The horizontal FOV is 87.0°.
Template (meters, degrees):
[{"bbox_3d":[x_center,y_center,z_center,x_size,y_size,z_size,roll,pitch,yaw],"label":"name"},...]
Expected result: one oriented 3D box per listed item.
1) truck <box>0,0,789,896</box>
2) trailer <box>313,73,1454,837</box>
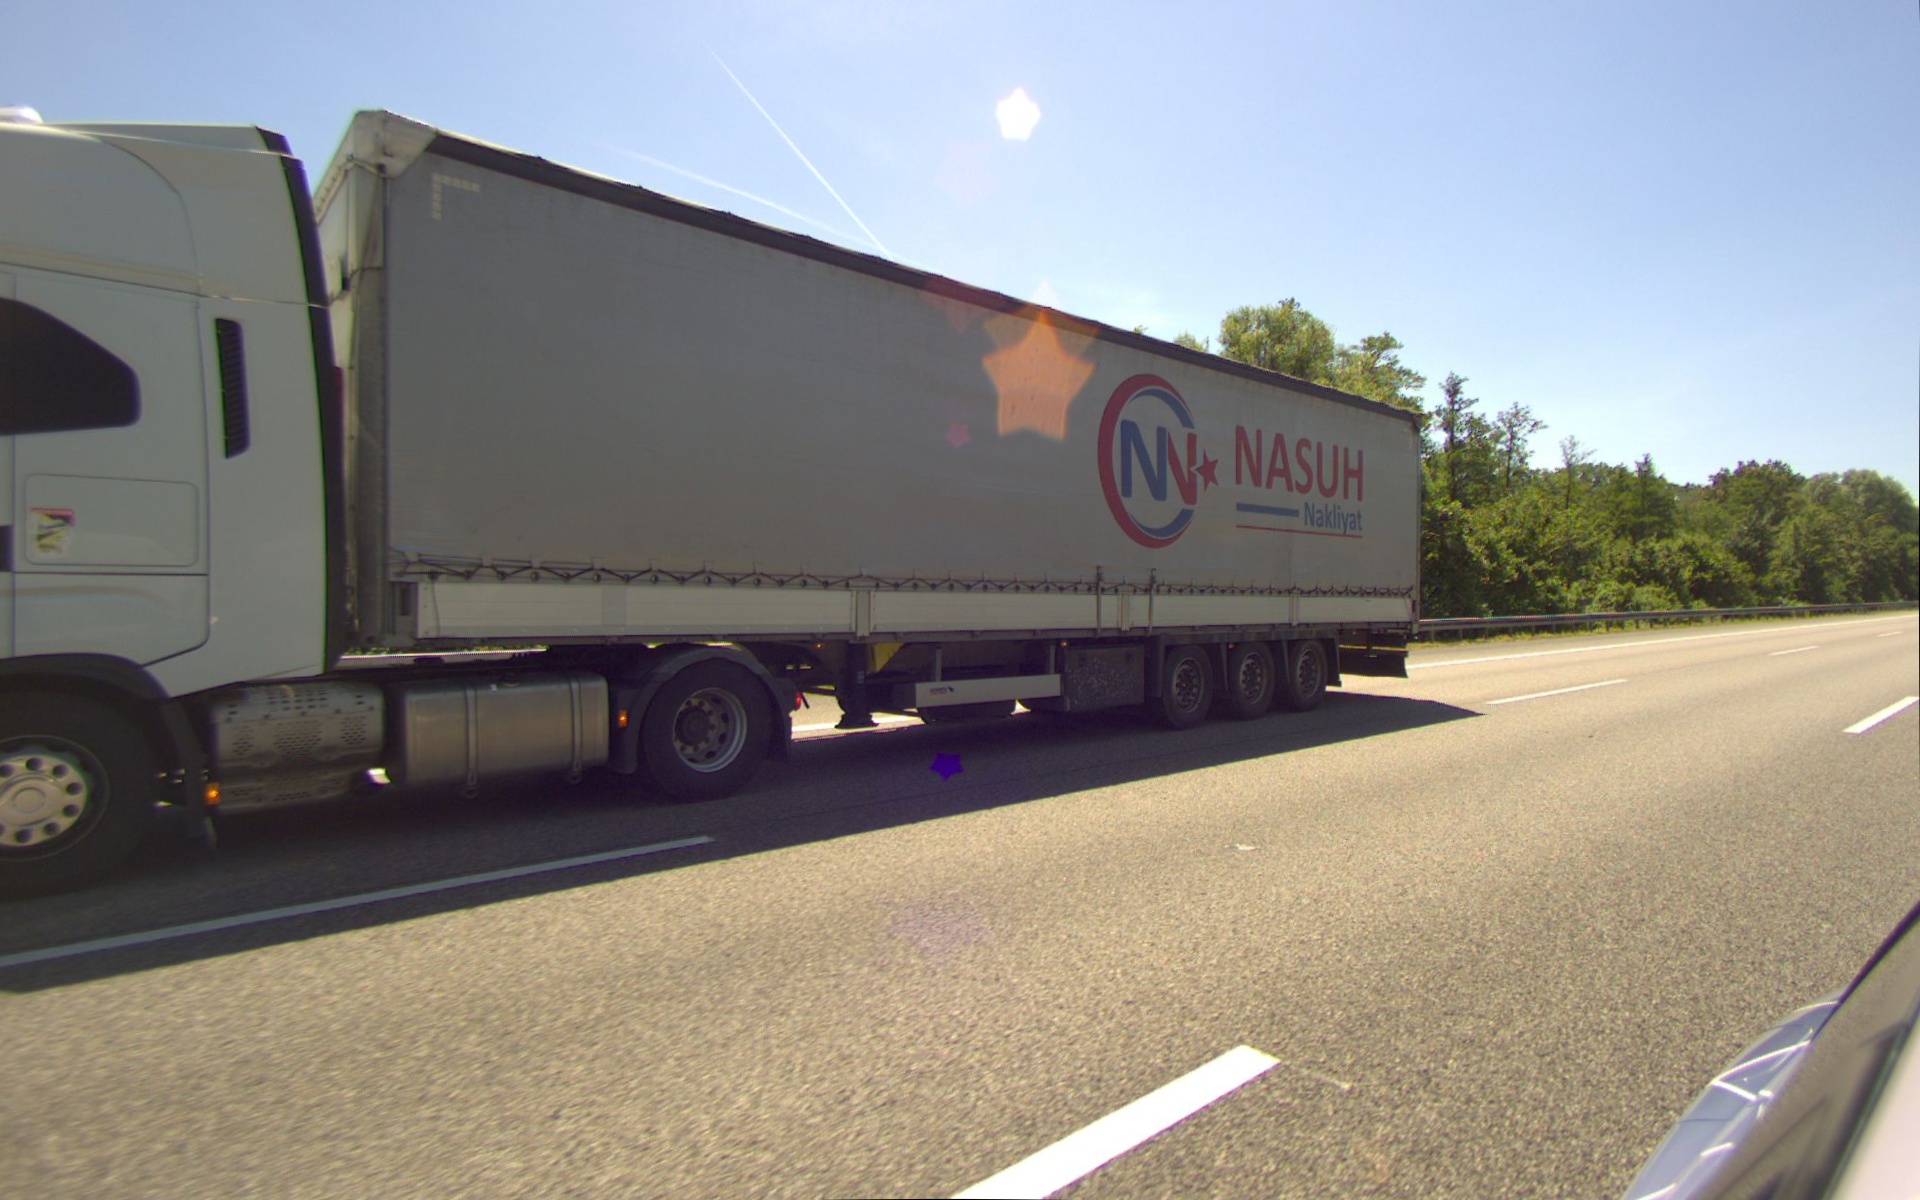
[{"bbox_3d":[-4.131,-0.834,6.663,5.341,4.341,2.610,-1,0,-41],"label":"truck"},{"bbox_3d":[1.135,-0.926,11.253,13.816,4.314,2.628,-1,0,-41],"label":"trailer"}]
